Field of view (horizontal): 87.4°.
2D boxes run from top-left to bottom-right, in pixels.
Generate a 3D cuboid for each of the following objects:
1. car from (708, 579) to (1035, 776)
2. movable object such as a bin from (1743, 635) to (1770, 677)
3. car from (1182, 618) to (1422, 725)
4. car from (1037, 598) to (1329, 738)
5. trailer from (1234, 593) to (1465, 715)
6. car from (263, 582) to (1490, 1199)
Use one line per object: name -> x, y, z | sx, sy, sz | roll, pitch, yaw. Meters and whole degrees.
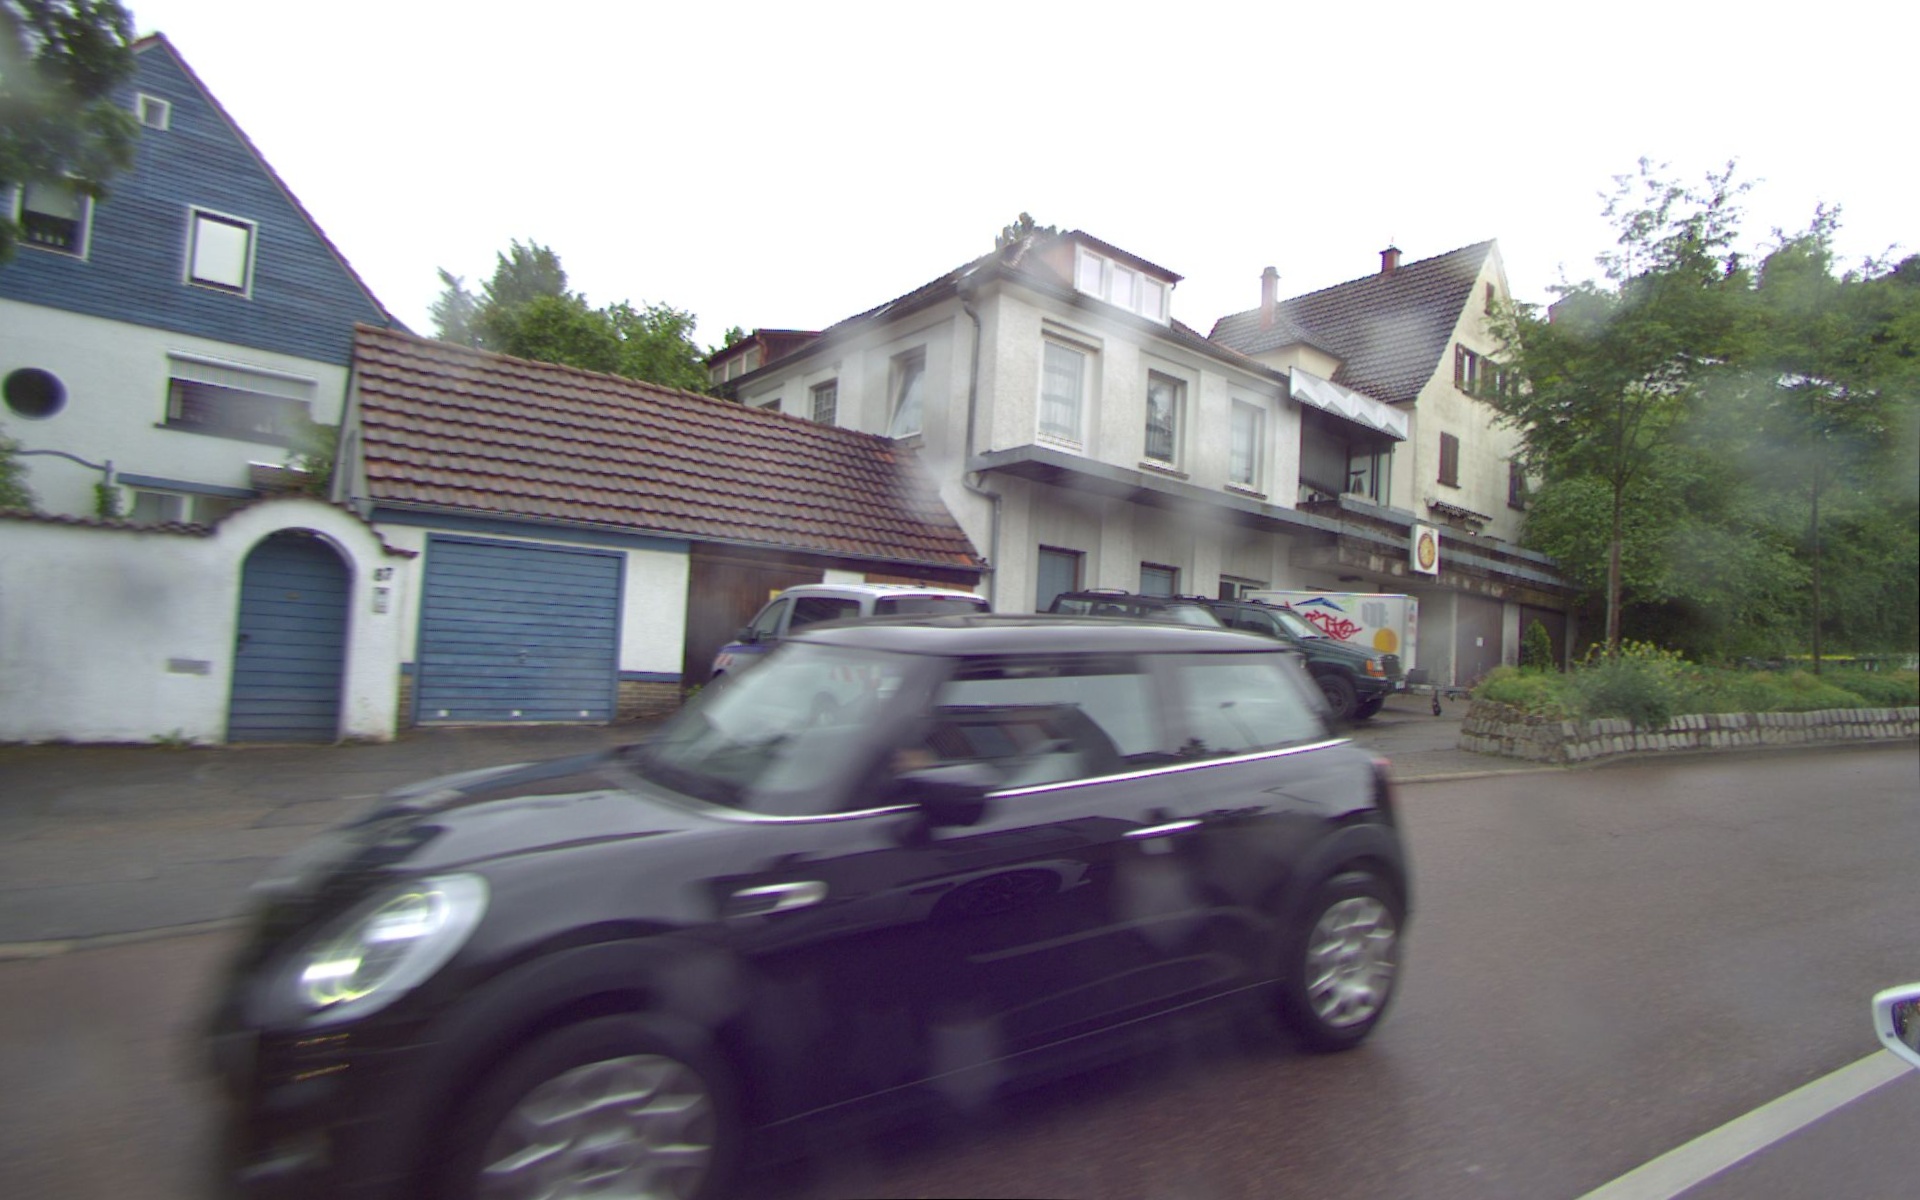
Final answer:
car -> -1.199, 0.736, 11.567 | 1.980, 1.824, 4.079 | 2, -1, -35
movable object such as a bin -> 20.451, 1.436, 25.790 | 0.493, 1.078, 0.365 | 1, 0, -25
car -> 5.594, 1.092, 16.595 | 3.298, 1.505, 1.829 | 1, -1, 42
car -> 3.326, 0.930, 15.460 | 4.034, 1.798, 1.788 | 2, 0, 44
trailer -> 7.489, 1.009, 19.370 | 3.891, 2.130, 1.950 | -1, -3, 31
car -> -0.062, 0.724, 3.380 | 3.637, 1.424, 1.667 | 2, -1, -32
